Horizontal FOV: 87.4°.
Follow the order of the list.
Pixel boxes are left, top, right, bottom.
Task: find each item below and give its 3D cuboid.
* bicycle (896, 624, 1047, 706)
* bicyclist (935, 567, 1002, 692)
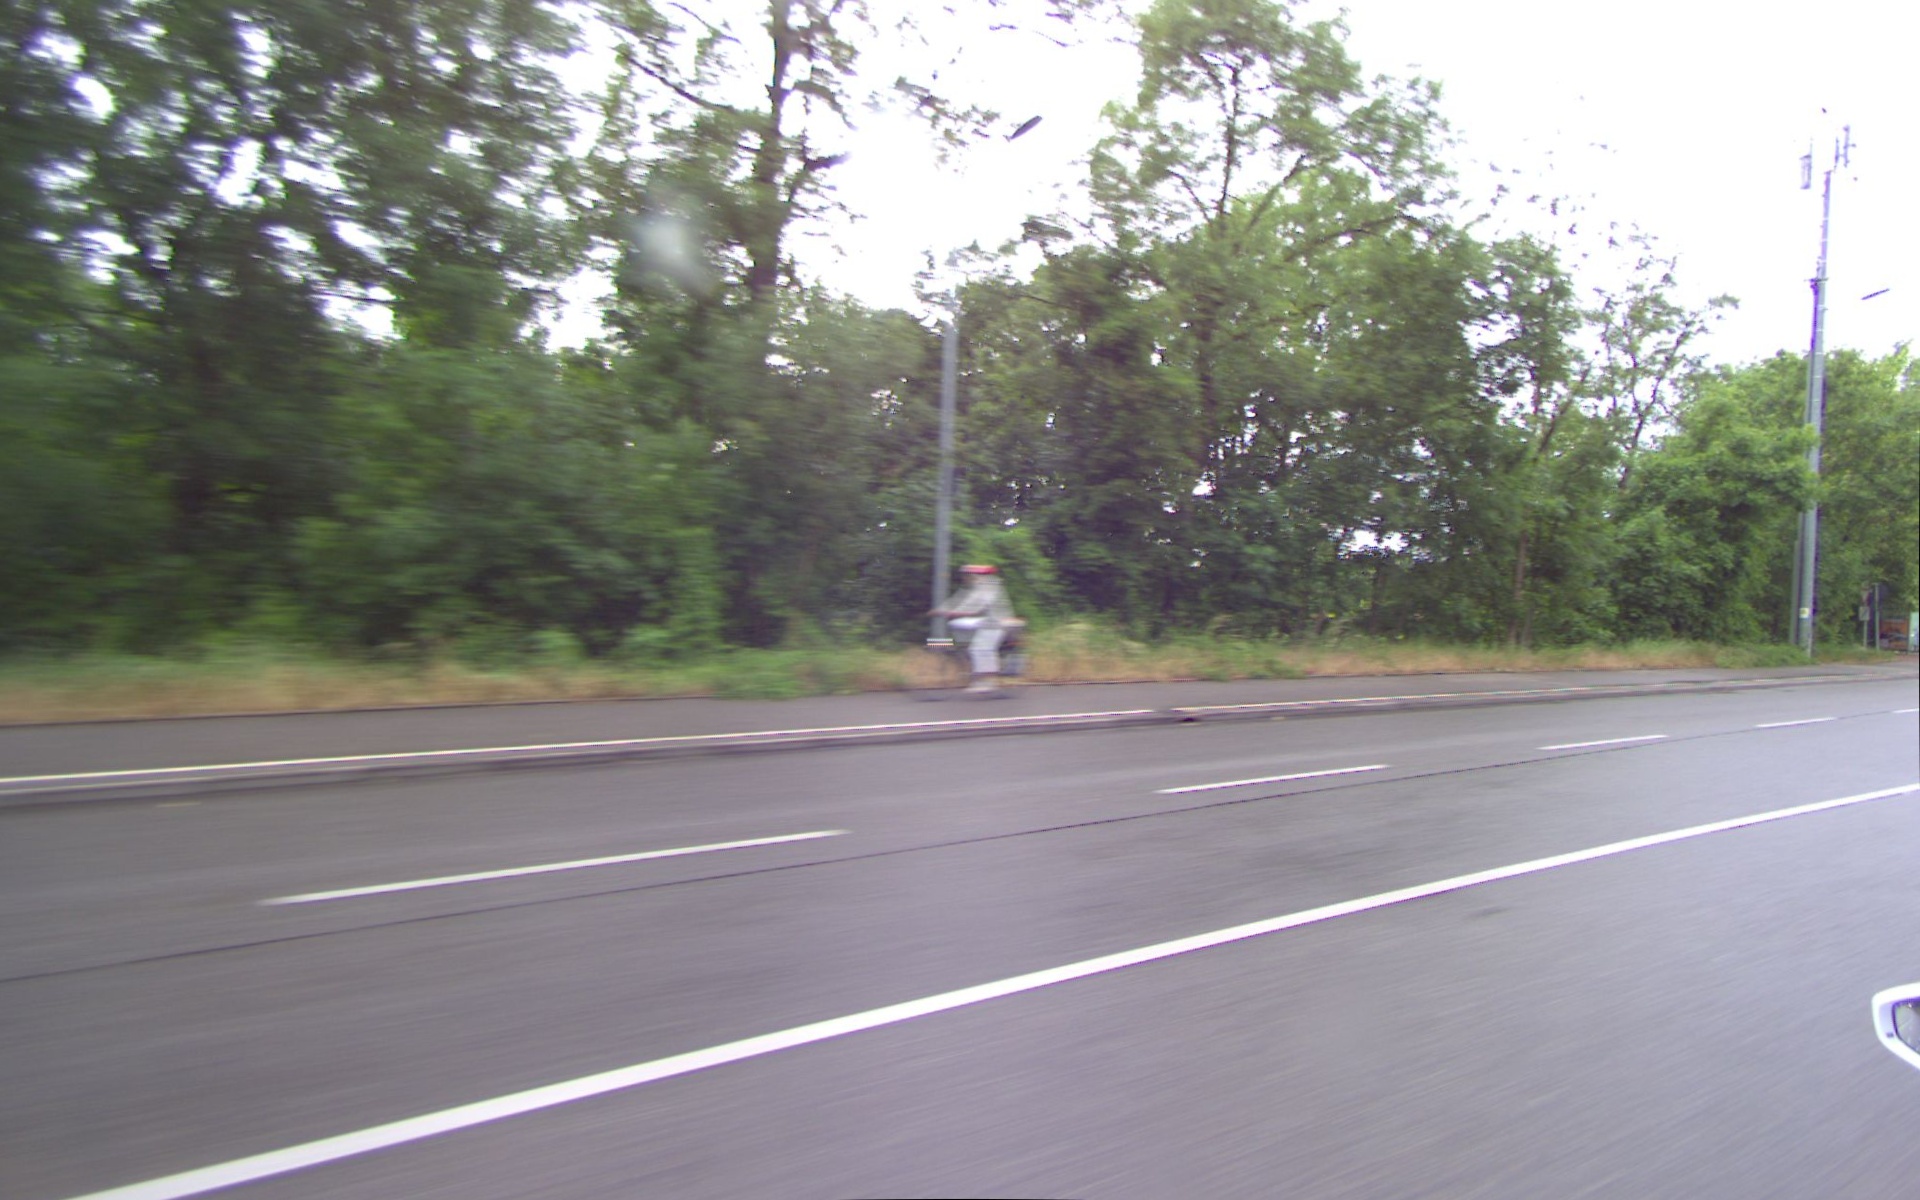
[{"bbox_3d":[0.163,0.849,13.369,1.989,1.017,0.451,1,2,-25],"label":"bicycle"},{"bbox_3d":[0.113,0.393,13.304,0.690,1.607,0.577,1,-1,-24],"label":"bicyclist"}]
